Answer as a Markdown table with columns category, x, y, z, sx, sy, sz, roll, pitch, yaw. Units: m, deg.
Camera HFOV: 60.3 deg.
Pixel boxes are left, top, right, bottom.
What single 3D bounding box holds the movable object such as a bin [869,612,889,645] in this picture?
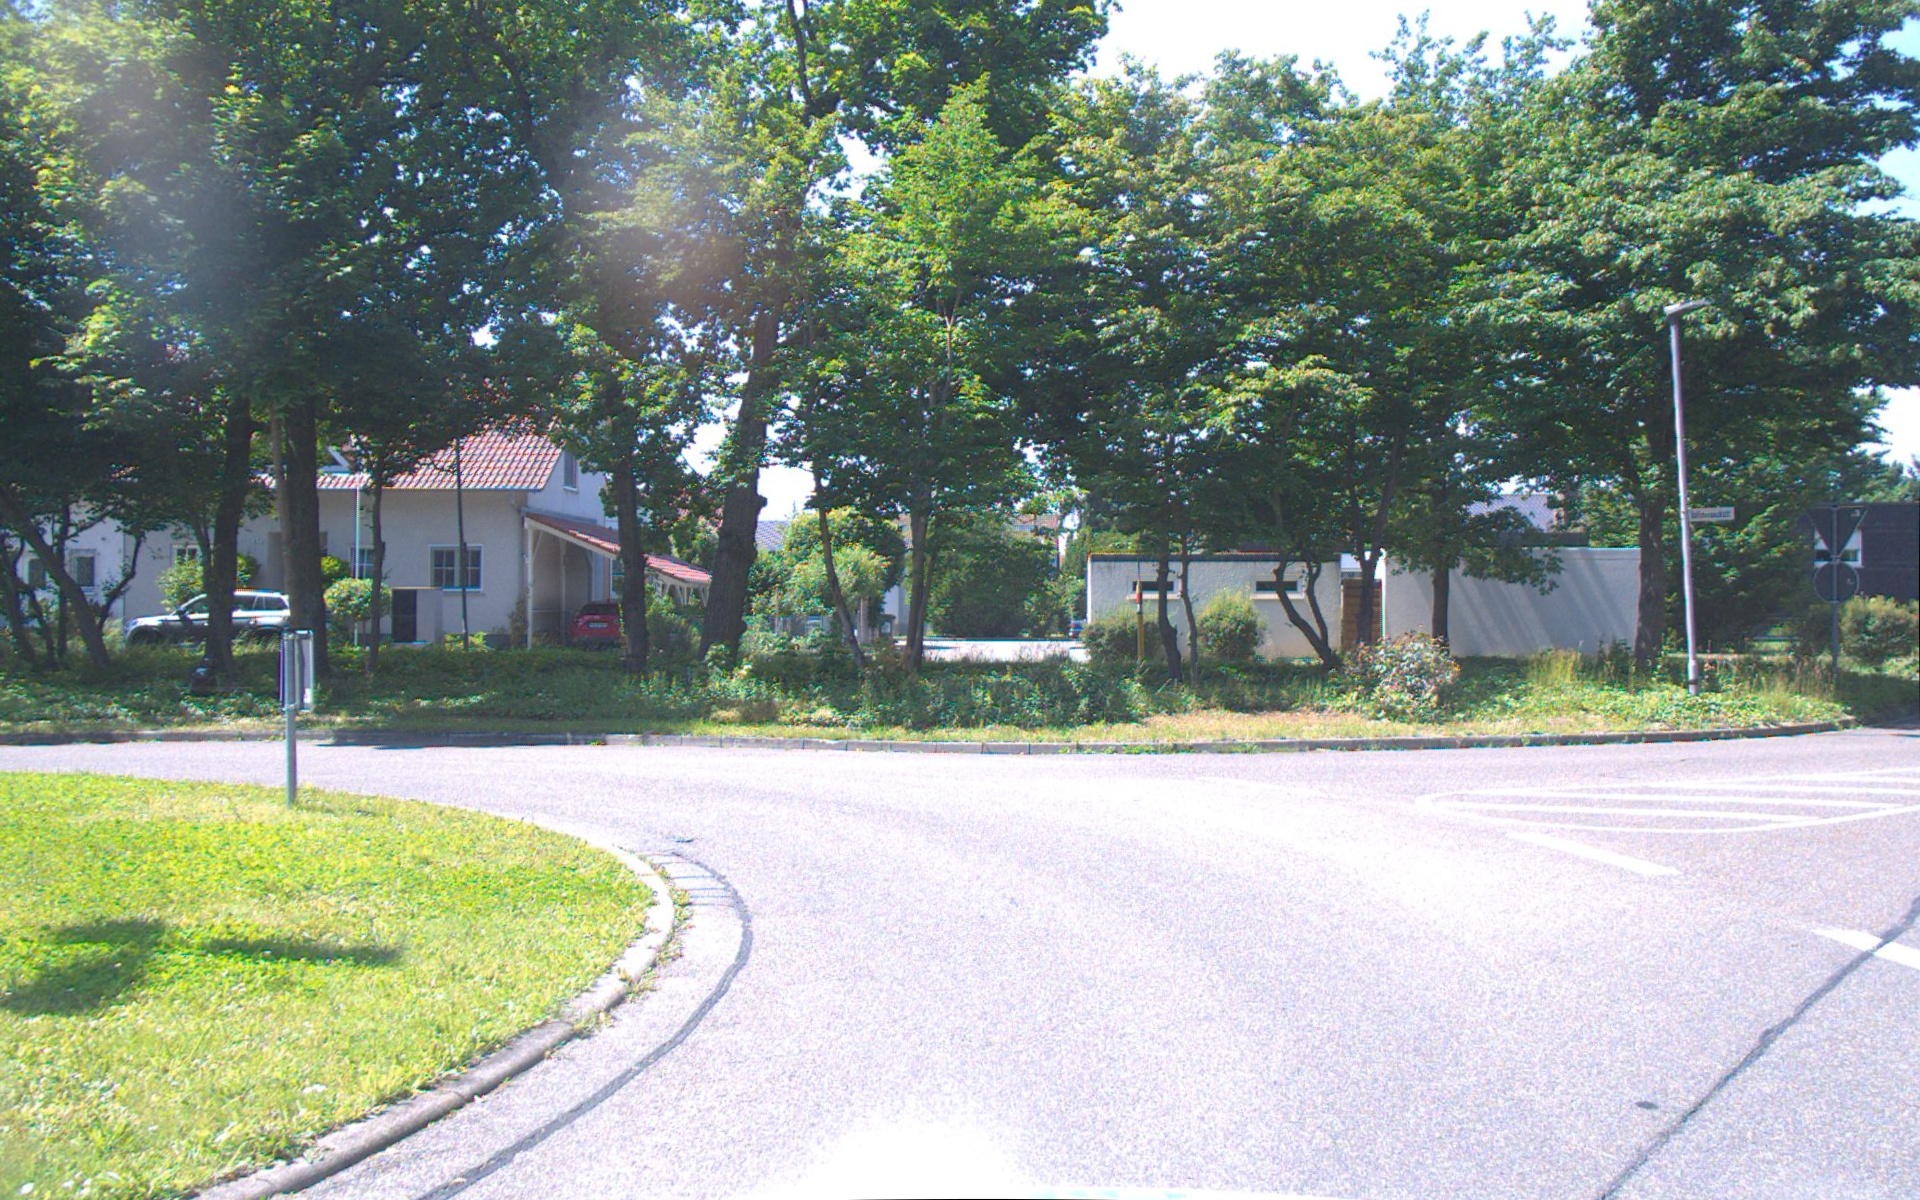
| category | x | y | z | sx | sy | sz | roll | pitch | yaw |
| --- | --- | --- | --- | --- | --- | --- | --- | --- | --- |
| movable object such as a bin | -2.787 | 0.974 | 56.924 | 0.643 | 1.132 | 0.457 | 0 | 0 | 1 |

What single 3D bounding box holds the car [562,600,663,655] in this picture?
| category | x | y | z | sx | sy | sz | roll | pitch | yaw |
| --- | --- | --- | --- | --- | --- | --- | --- | --- | --- |
| car | -9.279 | 0.700 | 44.435 | 1.643 | 1.409 | 3.696 | 0 | 0 | 5 |

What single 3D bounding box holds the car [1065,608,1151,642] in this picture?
| category | x | y | z | sx | sy | sz | roll | pitch | yaw |
| --- | --- | --- | --- | --- | --- | --- | --- | --- | --- |
| car | 5.695 | 0.967 | 63.850 | 3.200 | 1.275 | 1.573 | 0 | 0 | 1 |

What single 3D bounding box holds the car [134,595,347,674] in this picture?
| category | x | y | z | sx | sy | sz | roll | pitch | yaw |
| --- | --- | --- | --- | --- | --- | --- | --- | --- | --- |
| car | -16.116 | 0.767 | 37.150 | 4.044 | 1.735 | 1.666 | 0 | -1 | 1 |
